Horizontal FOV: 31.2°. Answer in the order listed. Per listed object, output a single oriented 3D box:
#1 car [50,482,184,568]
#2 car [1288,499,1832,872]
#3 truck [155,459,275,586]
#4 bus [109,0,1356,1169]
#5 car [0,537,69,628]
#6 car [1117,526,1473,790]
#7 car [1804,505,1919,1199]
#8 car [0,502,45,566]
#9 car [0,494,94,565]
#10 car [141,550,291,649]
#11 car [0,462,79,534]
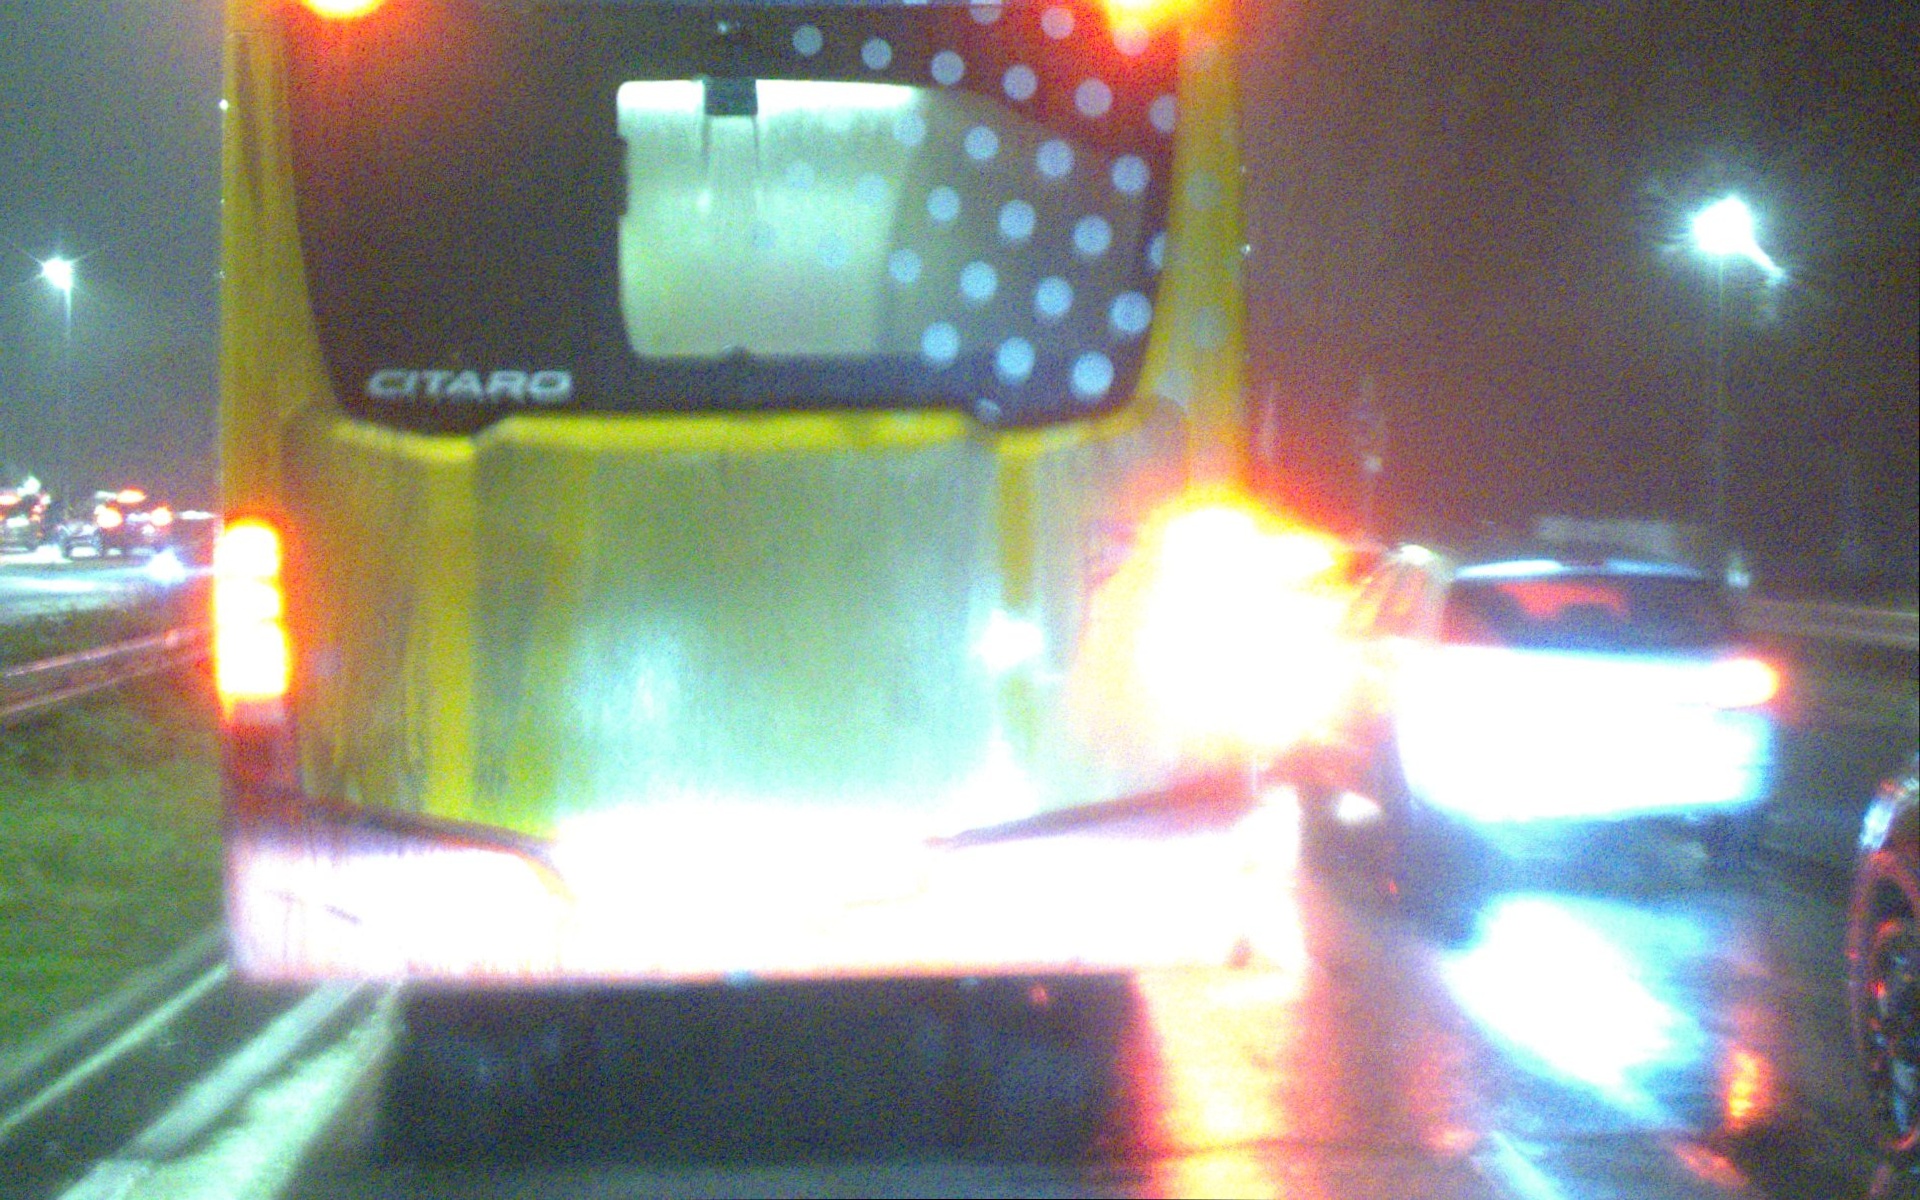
[{"bbox_3d":[-20.951,-1.873,85.335,1.993,2.007,4.000,2,0,-33],"label":"car"},{"bbox_3d":[2.733,0.334,16.520,1.819,1.585,3.777,0,1,-2],"label":"car"},{"bbox_3d":[-15.357,-1.638,70.725,1.855,2.384,4.781,-1,4,-18],"label":"truck"},{"bbox_3d":[-0.575,-0.294,12.296,2.815,3.013,8.688,1,1,-1],"label":"bus"},{"bbox_3d":[-21.471,-0.416,78.061,1.993,2.007,4.001,0,1,-20],"label":"car"},{"bbox_3d":[2.099,0.316,22.514,1.819,1.585,3.777,0,1,-2],"label":"car"},{"bbox_3d":[3.051,0.613,6.645,1.739,1.559,3.777,2,1,-2],"label":"car"},{"bbox_3d":[-25.925,-1.780,91.464,1.751,1.625,3.622,2,0,-38],"label":"car"},{"bbox_3d":[-26.719,-2.030,98.893,1.994,2.007,3.999,0,1,-39],"label":"car"},{"bbox_3d":[-11.631,-0.033,53.968,1.993,1.481,4.001,0,1,-8],"label":"car"},{"bbox_3d":[-27.644,-3.046,103.119,2.120,2.007,4.001,2,0,-12],"label":"car"}]
